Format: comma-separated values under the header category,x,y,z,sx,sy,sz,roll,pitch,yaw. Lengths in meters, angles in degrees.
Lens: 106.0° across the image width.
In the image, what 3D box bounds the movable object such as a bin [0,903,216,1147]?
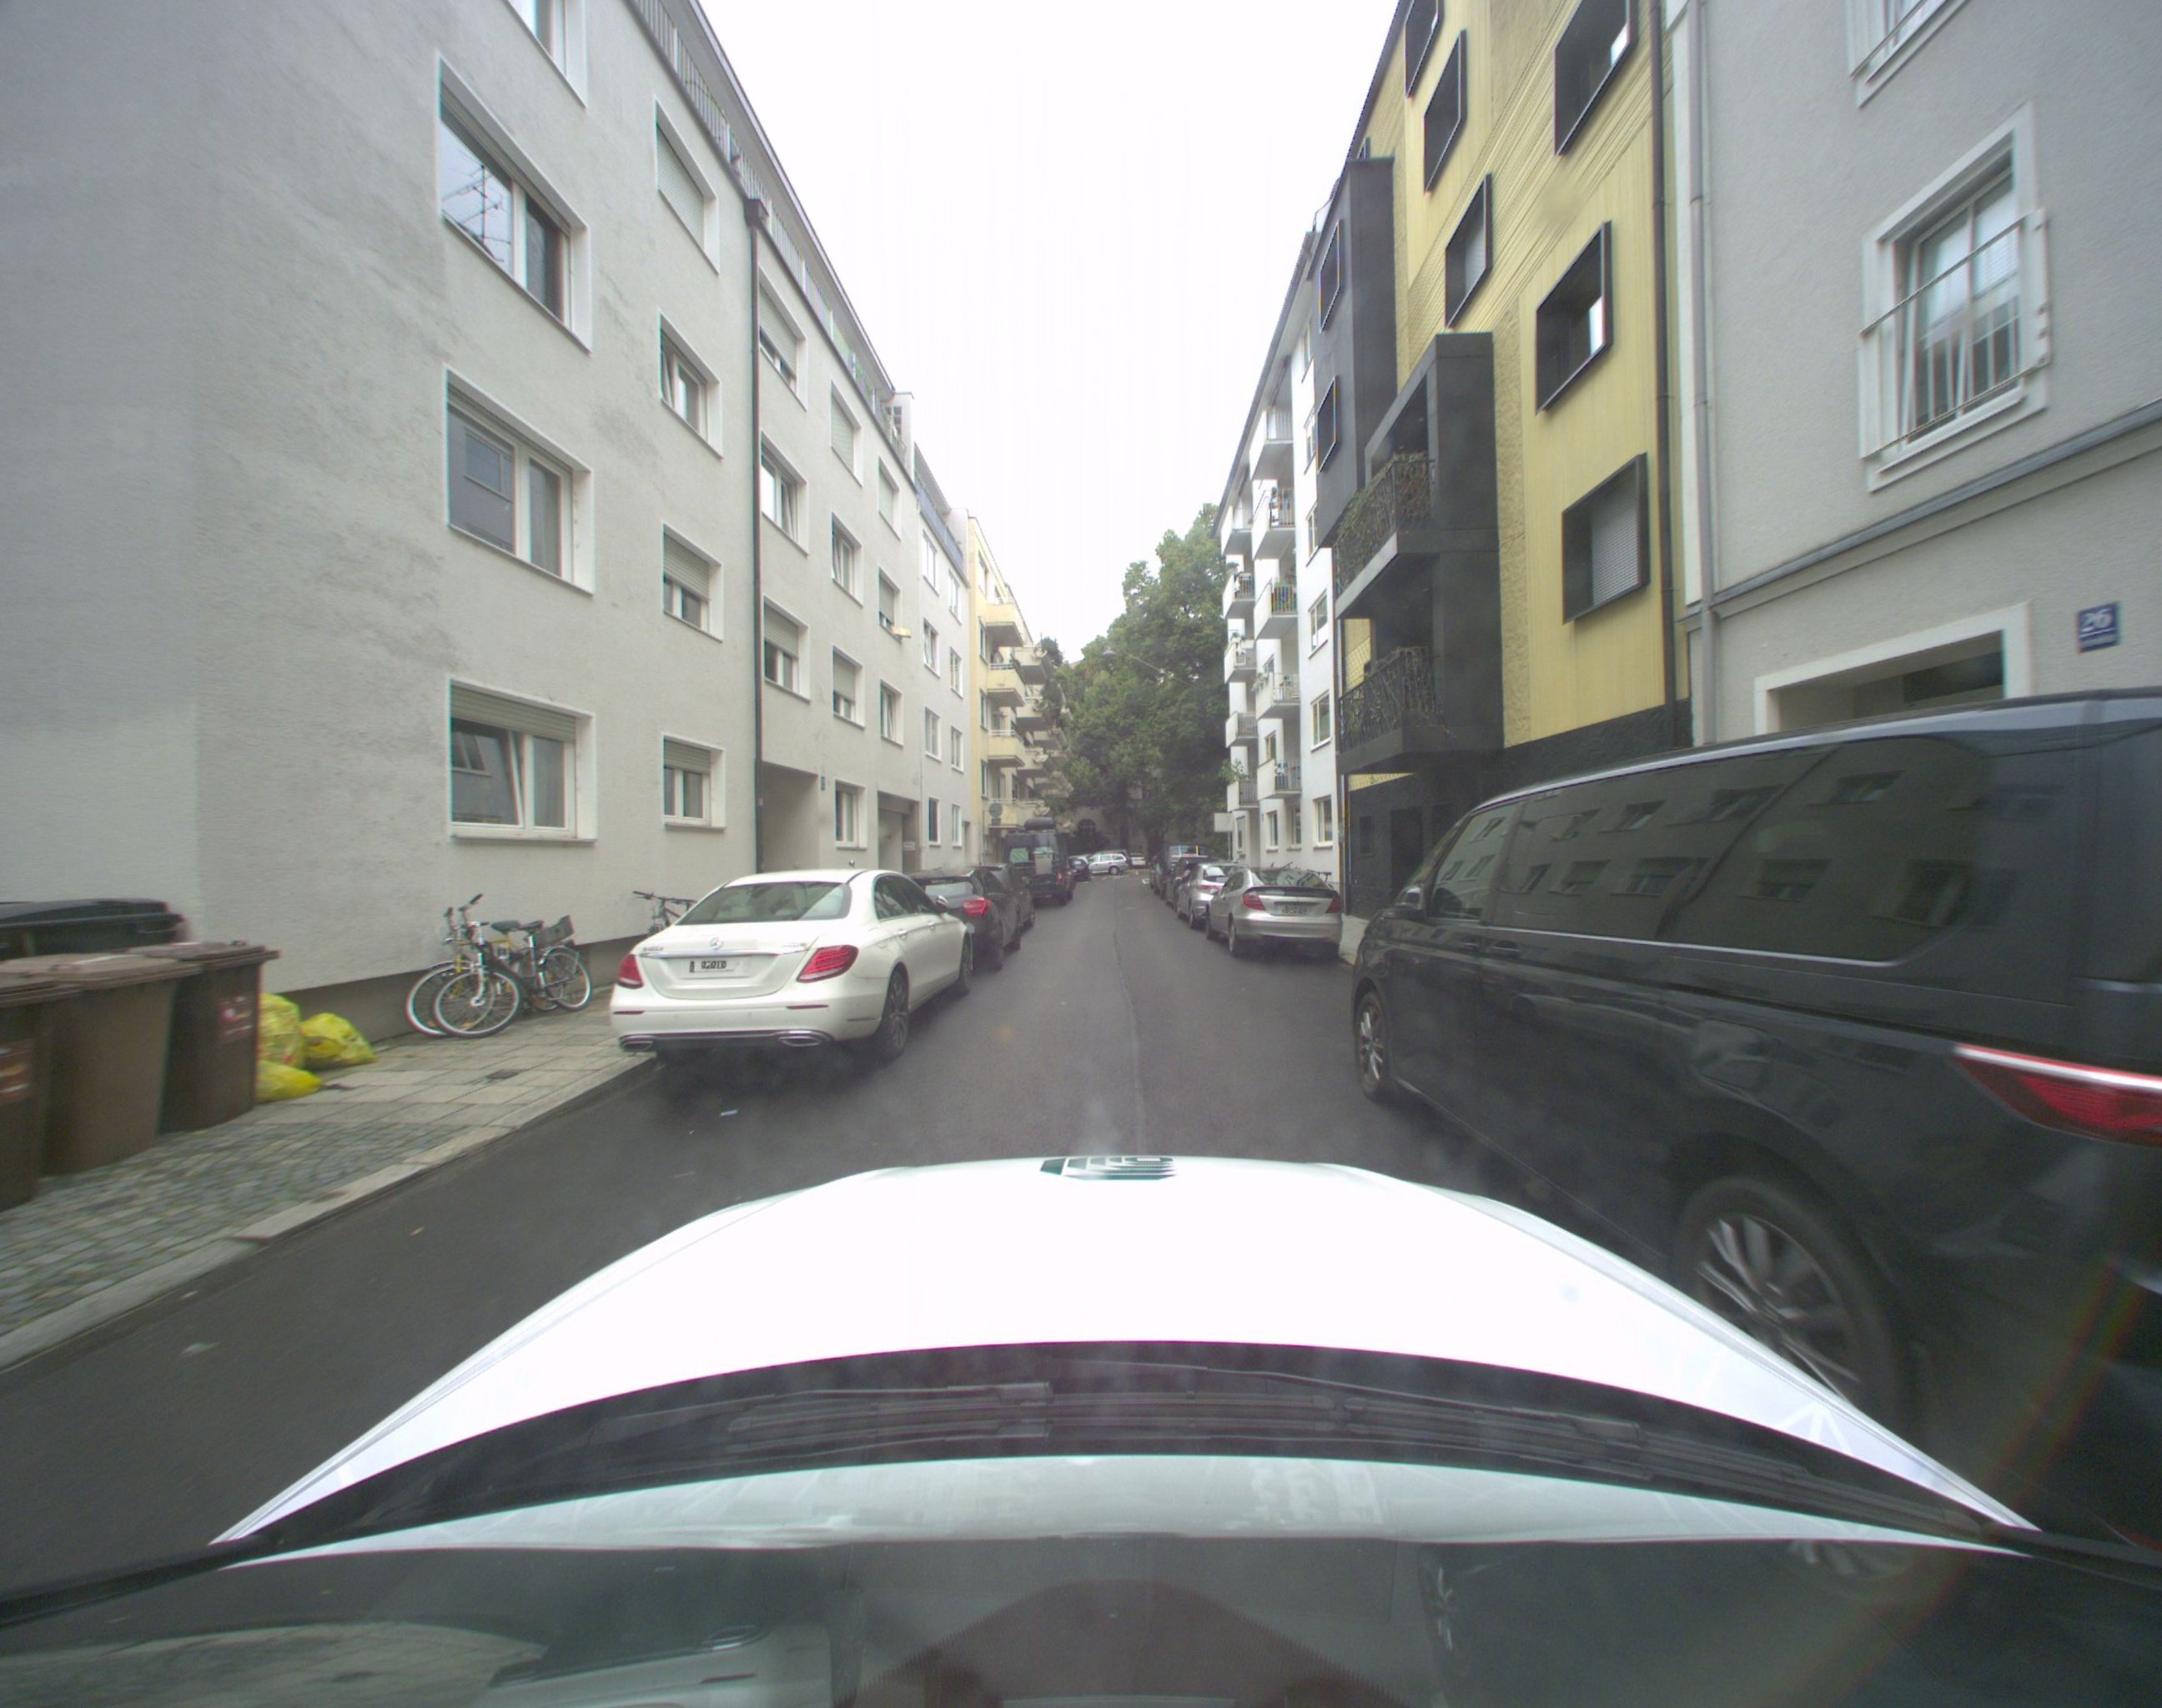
category,x,y,z,sx,sy,sz,roll,pitch,yaw
movable object such as a bin,-6.381,0.966,4.922,1.116,1.263,1.098,-1,-1,3

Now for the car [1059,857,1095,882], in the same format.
category,x,y,z,sx,sy,sz,roll,pitch,yaw
car,-0.195,0.850,46.757,1.790,1.278,4.619,-3,0,2

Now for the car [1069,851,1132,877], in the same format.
category,x,y,z,sx,sy,sz,roll,pitch,yaw
car,1.338,0.681,55.842,4.212,1.455,1.722,-4,0,1

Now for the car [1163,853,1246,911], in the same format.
category,x,y,z,sx,sy,sz,roll,pitch,yaw
car,3.589,0.774,24.428,1.898,1.554,4.627,-1,0,2

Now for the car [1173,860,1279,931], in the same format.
category,x,y,z,sx,sy,sz,roll,pitch,yaw
car,3.300,0.896,19.346,1.754,1.431,4.261,2,0,0

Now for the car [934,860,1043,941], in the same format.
category,x,y,z,sx,sy,sz,roll,pitch,yaw
car,-1.881,0.913,17.572,1.604,1.446,3.746,-4,-1,4

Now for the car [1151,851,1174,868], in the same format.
category,x,y,z,sx,sy,sz,roll,pitch,yaw
car,7.236,0.500,72.097,1.780,1.431,4.010,-1,0,9

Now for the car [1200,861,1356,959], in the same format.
category,x,y,z,sx,sy,sz,roll,pitch,yaw
car,3.253,0.852,14.276,1.728,1.429,4.203,-1,0,1

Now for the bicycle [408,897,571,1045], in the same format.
category,x,y,z,sx,sy,sz,roll,pitch,yaw
bicycle,-5.436,1.018,7.605,0.340,1.139,1.682,-1,0,-2

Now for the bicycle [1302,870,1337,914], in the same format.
category,x,y,z,sx,sy,sz,roll,pitch,yaw
bicycle,6.112,0.945,20.908,0.475,1.048,1.522,-1,0,2

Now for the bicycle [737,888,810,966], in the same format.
category,x,y,z,sx,sy,sz,roll,pitch,yaw
bicycle,-4.555,1.054,12.162,0.386,1.016,1.625,-2,0,2

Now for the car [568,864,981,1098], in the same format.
category,x,y,z,sx,sy,sz,roll,pitch,yaw
car,-2.273,0.847,7.649,1.905,1.437,4.810,-1,0,2

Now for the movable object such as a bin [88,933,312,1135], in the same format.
category,x,y,z,sx,sy,sz,roll,pitch,yaw
movable object such as a bin,-5.340,1.058,4.974,0.689,1.076,0.603,-1,-1,-4

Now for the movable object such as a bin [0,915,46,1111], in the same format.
category,x,y,z,sx,sy,sz,roll,pitch,yaw
movable object such as a bin,-7.628,1.053,4.953,1.116,1.263,1.202,-1,-1,3

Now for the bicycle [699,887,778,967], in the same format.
category,x,y,z,sx,sy,sz,roll,pitch,yaw
bicycle,-4.999,1.038,11.982,0.397,1.016,1.575,-2,0,2

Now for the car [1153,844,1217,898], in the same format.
category,x,y,z,sx,sy,sz,roll,pitch,yaw
car,3.749,0.578,30.075,1.867,1.791,4.784,-1,0,2

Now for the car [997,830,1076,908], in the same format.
category,x,y,z,sx,sy,sz,roll,pitch,yaw
car,-1.377,0.474,27.675,2.010,2.279,5.394,-3,-1,3

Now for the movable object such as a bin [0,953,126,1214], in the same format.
category,x,y,z,sx,sy,sz,roll,pitch,yaw
movable object such as a bin,-5.097,1.037,3.667,0.766,1.076,0.677,-1,-1,-4

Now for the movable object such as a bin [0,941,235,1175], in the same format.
category,x,y,z,sx,sy,sz,roll,pitch,yaw
movable object such as a bin,-5.242,1.045,4.344,0.766,1.076,0.634,-1,-1,-4

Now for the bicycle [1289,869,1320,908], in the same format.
category,x,y,z,sx,sy,sz,roll,pitch,yaw
bicycle,6.153,0.936,22.486,0.475,1.002,1.553,-1,0,2

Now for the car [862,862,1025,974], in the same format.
category,x,y,z,sx,sy,sz,roll,pitch,yaw
car,-1.958,0.862,12.846,1.795,1.417,4.226,-1,0,0

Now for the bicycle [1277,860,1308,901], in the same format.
category,x,y,z,sx,sy,sz,roll,pitch,yaw
bicycle,6.272,0.763,24.213,0.568,1.151,1.564,-1,0,2

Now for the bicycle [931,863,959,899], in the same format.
category,x,y,z,sx,sy,sz,roll,pitch,yaw
bicycle,-4.329,0.848,26.028,0.461,1.098,1.872,-1,0,4

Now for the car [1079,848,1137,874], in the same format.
category,x,y,z,sx,sy,sz,roll,pitch,yaw
car,1.988,0.509,61.080,4.206,1.684,1.902,-3,0,0

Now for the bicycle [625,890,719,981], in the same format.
category,x,y,z,sx,sy,sz,roll,pitch,yaw
bicycle,-5.186,1.003,10.409,0.377,1.016,1.442,-2,0,3

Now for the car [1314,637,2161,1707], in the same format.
category,x,y,z,sx,sy,sz,roll,pitch,yaw
car,2.753,0.605,3.828,1.975,1.839,5.186,1,0,2

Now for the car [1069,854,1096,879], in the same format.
category,x,y,z,sx,sy,sz,roll,pitch,yaw
car,0.109,0.787,51.435,1.555,1.421,3.834,-3,0,1

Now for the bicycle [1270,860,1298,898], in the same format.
category,x,y,z,sx,sy,sz,roll,pitch,yaw
bicycle,6.394,0.776,25.712,0.568,1.151,1.431,-1,0,1

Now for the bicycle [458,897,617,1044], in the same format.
category,x,y,z,sx,sy,sz,roll,pitch,yaw
bicycle,-5.024,1.016,7.648,0.402,1.139,1.682,-1,0,-2

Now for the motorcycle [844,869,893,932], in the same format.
category,x,y,z,sx,sy,sz,roll,pitch,yaw
motorcycle,-4.433,0.941,17.067,0.597,1.203,1.857,-1,0,-3

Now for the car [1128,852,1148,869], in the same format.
category,x,y,z,sx,sy,sz,roll,pitch,yaw
car,5.127,0.567,72.980,1.710,1.431,4.005,-1,0,5
